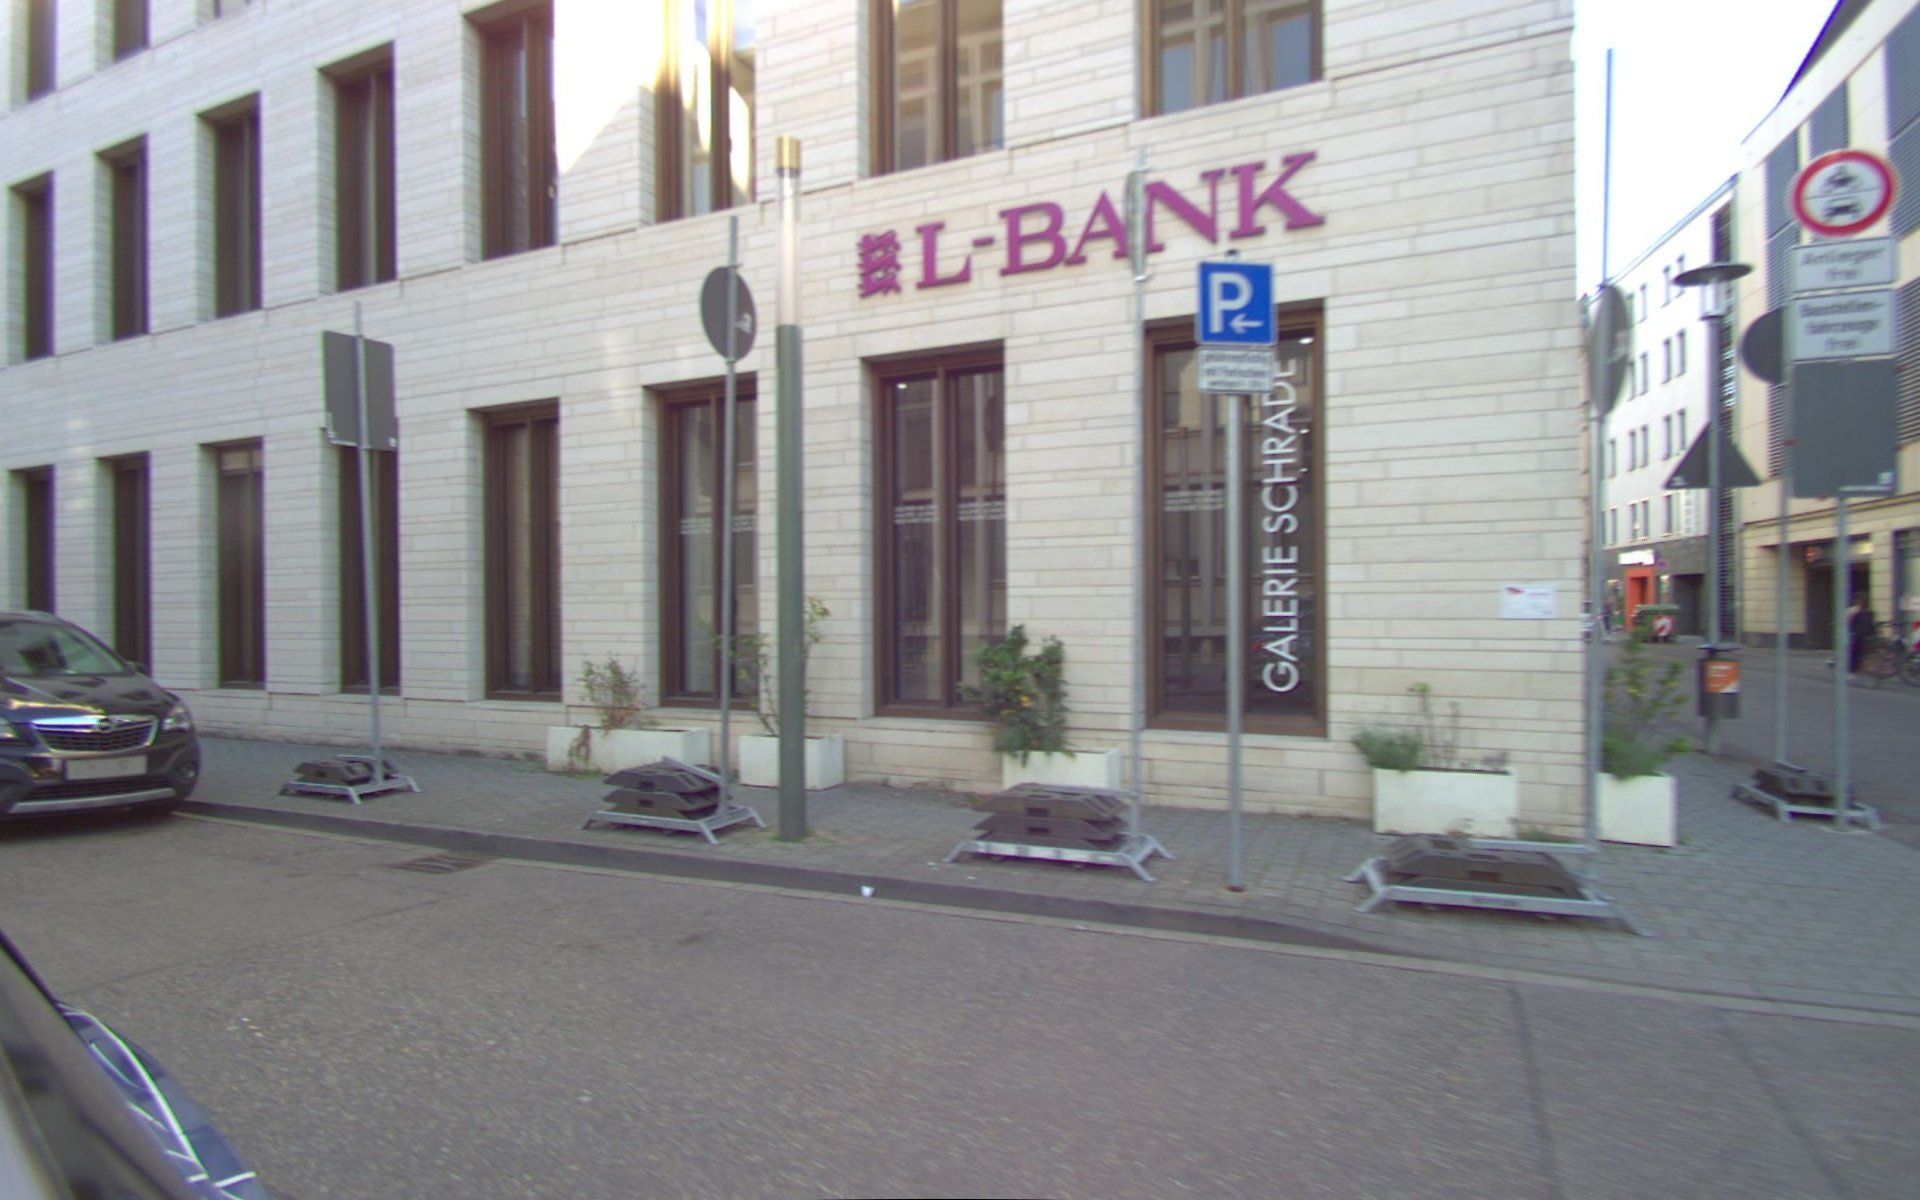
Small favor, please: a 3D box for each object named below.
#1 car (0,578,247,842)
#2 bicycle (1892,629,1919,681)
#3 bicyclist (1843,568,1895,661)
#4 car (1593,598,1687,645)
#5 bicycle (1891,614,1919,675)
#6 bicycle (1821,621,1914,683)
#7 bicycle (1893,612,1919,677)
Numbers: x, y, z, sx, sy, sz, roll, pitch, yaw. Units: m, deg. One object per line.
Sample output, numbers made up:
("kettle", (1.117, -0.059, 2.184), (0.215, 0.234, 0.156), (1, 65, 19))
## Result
("car", (-7.860, 0.787, 7.913), (4.237, 1.690, 1.813), (-2, -3, 24))
("bicycle", (18.447, 1.042, 18.868), (1.513, 0.960, 0.349), (0, 0, 30))
("bicyclist", (16.502, 0.256, 18.381), (0.494, 1.638, 0.628), (0, 0, 20))
("car", (26.213, 0.778, 39.180), (2.162, 1.674, 3.972), (0, 0, 21))
("bicycle", (20.190, 0.921, 20.803), (1.516, 1.259, 0.348), (0, 0, 37))
("bicycle", (16.555, 0.915, 18.514), (0.515, 1.002, 2.095), (0, 0, 20))
("bicycle", (19.241, 0.877, 19.721), (1.515, 1.259, 0.349), (0, 0, 33))
